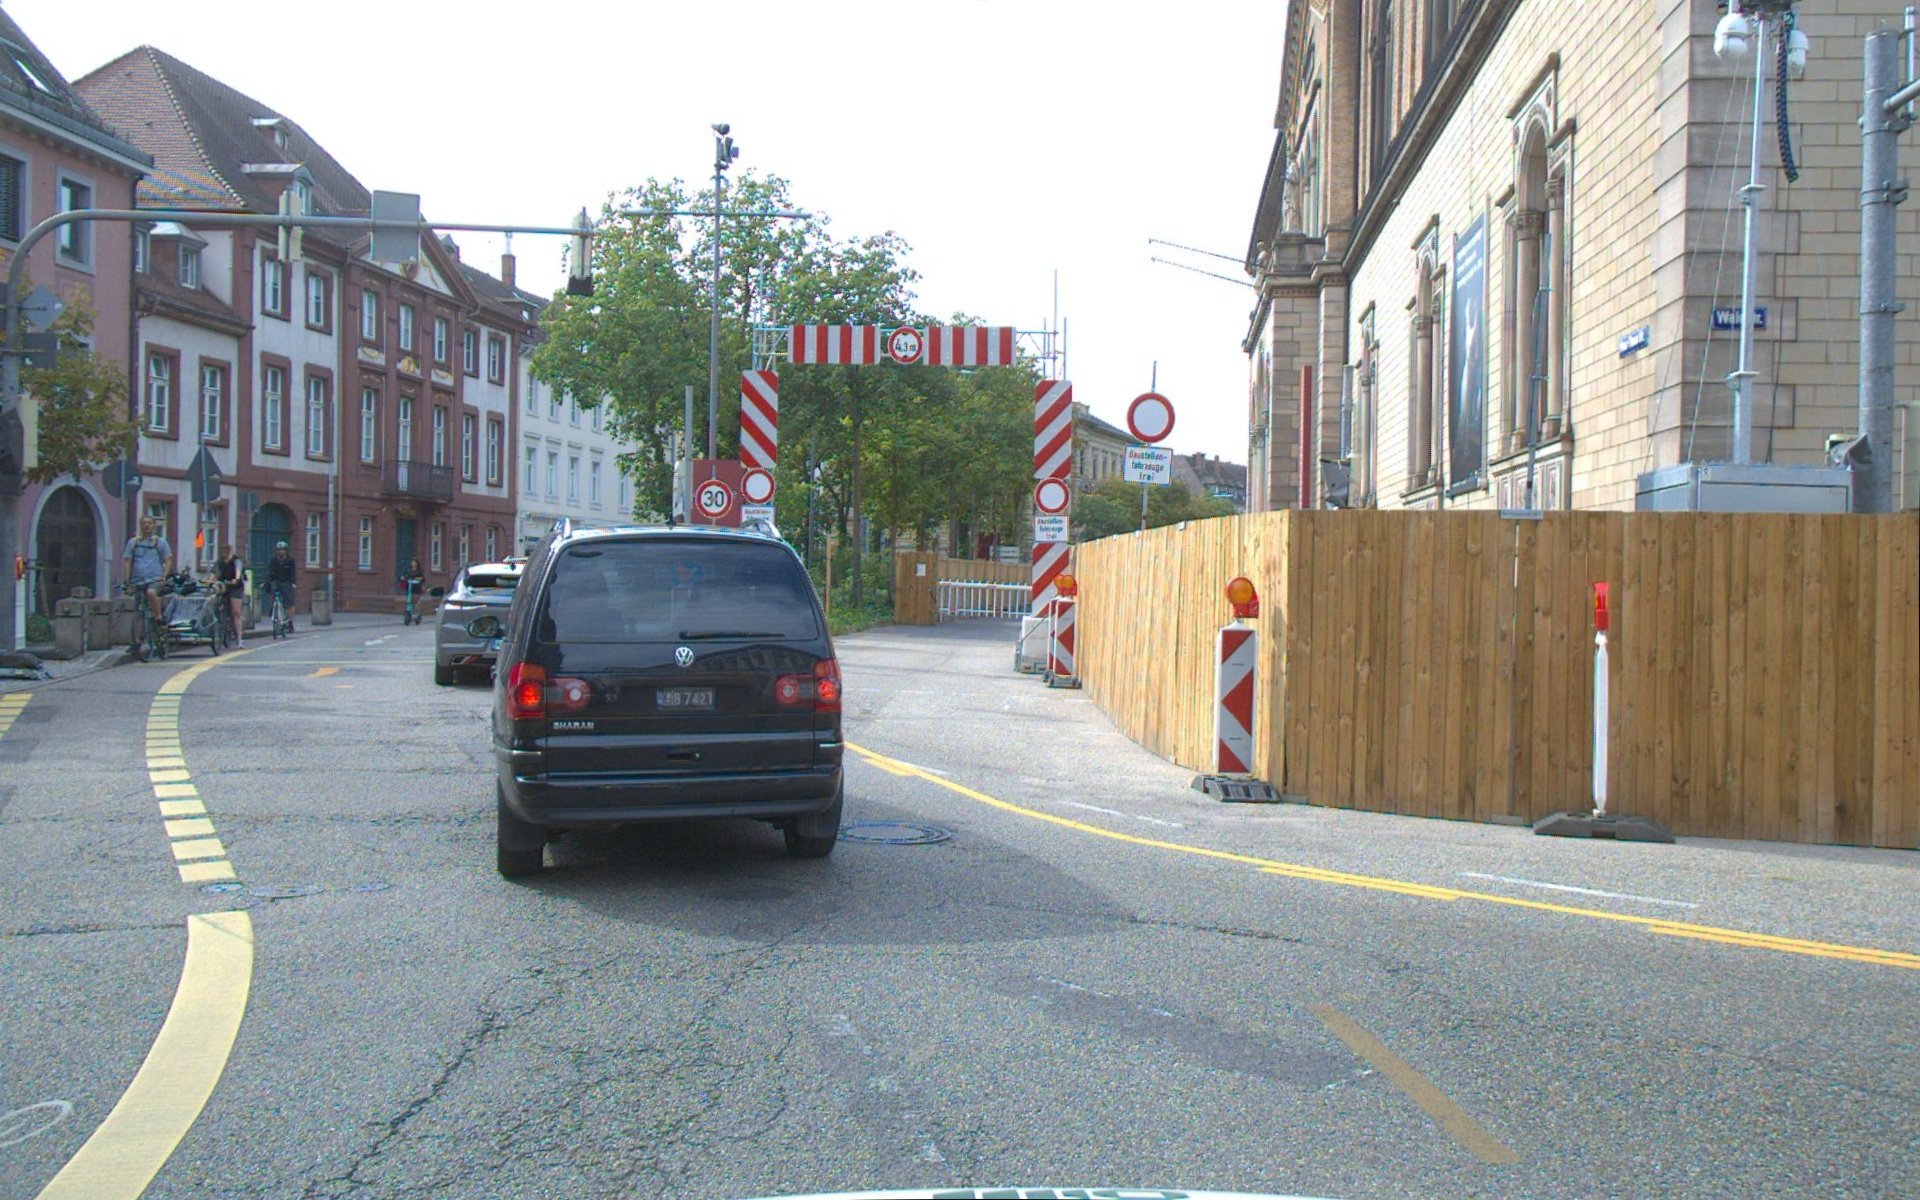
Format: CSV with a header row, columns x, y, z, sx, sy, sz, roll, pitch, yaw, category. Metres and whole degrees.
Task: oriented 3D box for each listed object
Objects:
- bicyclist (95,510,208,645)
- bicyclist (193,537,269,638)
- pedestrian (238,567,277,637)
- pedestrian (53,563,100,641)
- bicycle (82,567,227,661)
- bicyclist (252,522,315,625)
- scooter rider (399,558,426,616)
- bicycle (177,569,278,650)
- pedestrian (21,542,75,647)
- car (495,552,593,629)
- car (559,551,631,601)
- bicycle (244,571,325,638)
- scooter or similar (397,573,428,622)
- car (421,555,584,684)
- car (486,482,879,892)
x,y,z,sx,sy,sz,roll,pitch,yaw,category
-11.515,-0.315,23.606,1.071,1.855,1.362,1,0,-9,bicyclist
-12.190,-0.207,27.686,0.909,1.637,1.061,1,0,-10,bicyclist
-17.341,0.044,40.842,0.650,1.706,0.698,0,1,-1,pedestrian
-19.501,0.039,36.517,0.650,1.706,0.698,0,1,-1,pedestrian
-11.600,0.181,23.970,1.037,1.277,3.034,1,0,-9,bicycle
-13.360,-0.516,32.696,0.909,1.997,1.103,1,0,-10,bicyclist
-14.522,-0.347,43.884,0.589,1.516,0.677,1,0,-13,scooter rider
-12.215,0.146,27.678,0.909,1.277,2.536,1,0,-9,bicycle
-15.073,-0.107,27.326,0.660,1.706,0.688,-1,1,-39,pedestrian
-9.230,-0.219,36.979,1.740,1.613,3.992,1,0,-9,car
-10.188,-0.655,46.382,1.618,1.344,3.670,1,0,-7,car
-13.382,0.074,32.842,0.909,1.277,2.536,1,0,-9,bicycle
-14.523,-0.069,43.897,0.589,1.277,1.547,1,0,-13,scooter or similar
-5.988,0.213,21.360,1.654,1.494,4.078,1,0,-21,car
-1.783,0.380,9.580,1.760,1.821,4.086,1,0,-15,car
